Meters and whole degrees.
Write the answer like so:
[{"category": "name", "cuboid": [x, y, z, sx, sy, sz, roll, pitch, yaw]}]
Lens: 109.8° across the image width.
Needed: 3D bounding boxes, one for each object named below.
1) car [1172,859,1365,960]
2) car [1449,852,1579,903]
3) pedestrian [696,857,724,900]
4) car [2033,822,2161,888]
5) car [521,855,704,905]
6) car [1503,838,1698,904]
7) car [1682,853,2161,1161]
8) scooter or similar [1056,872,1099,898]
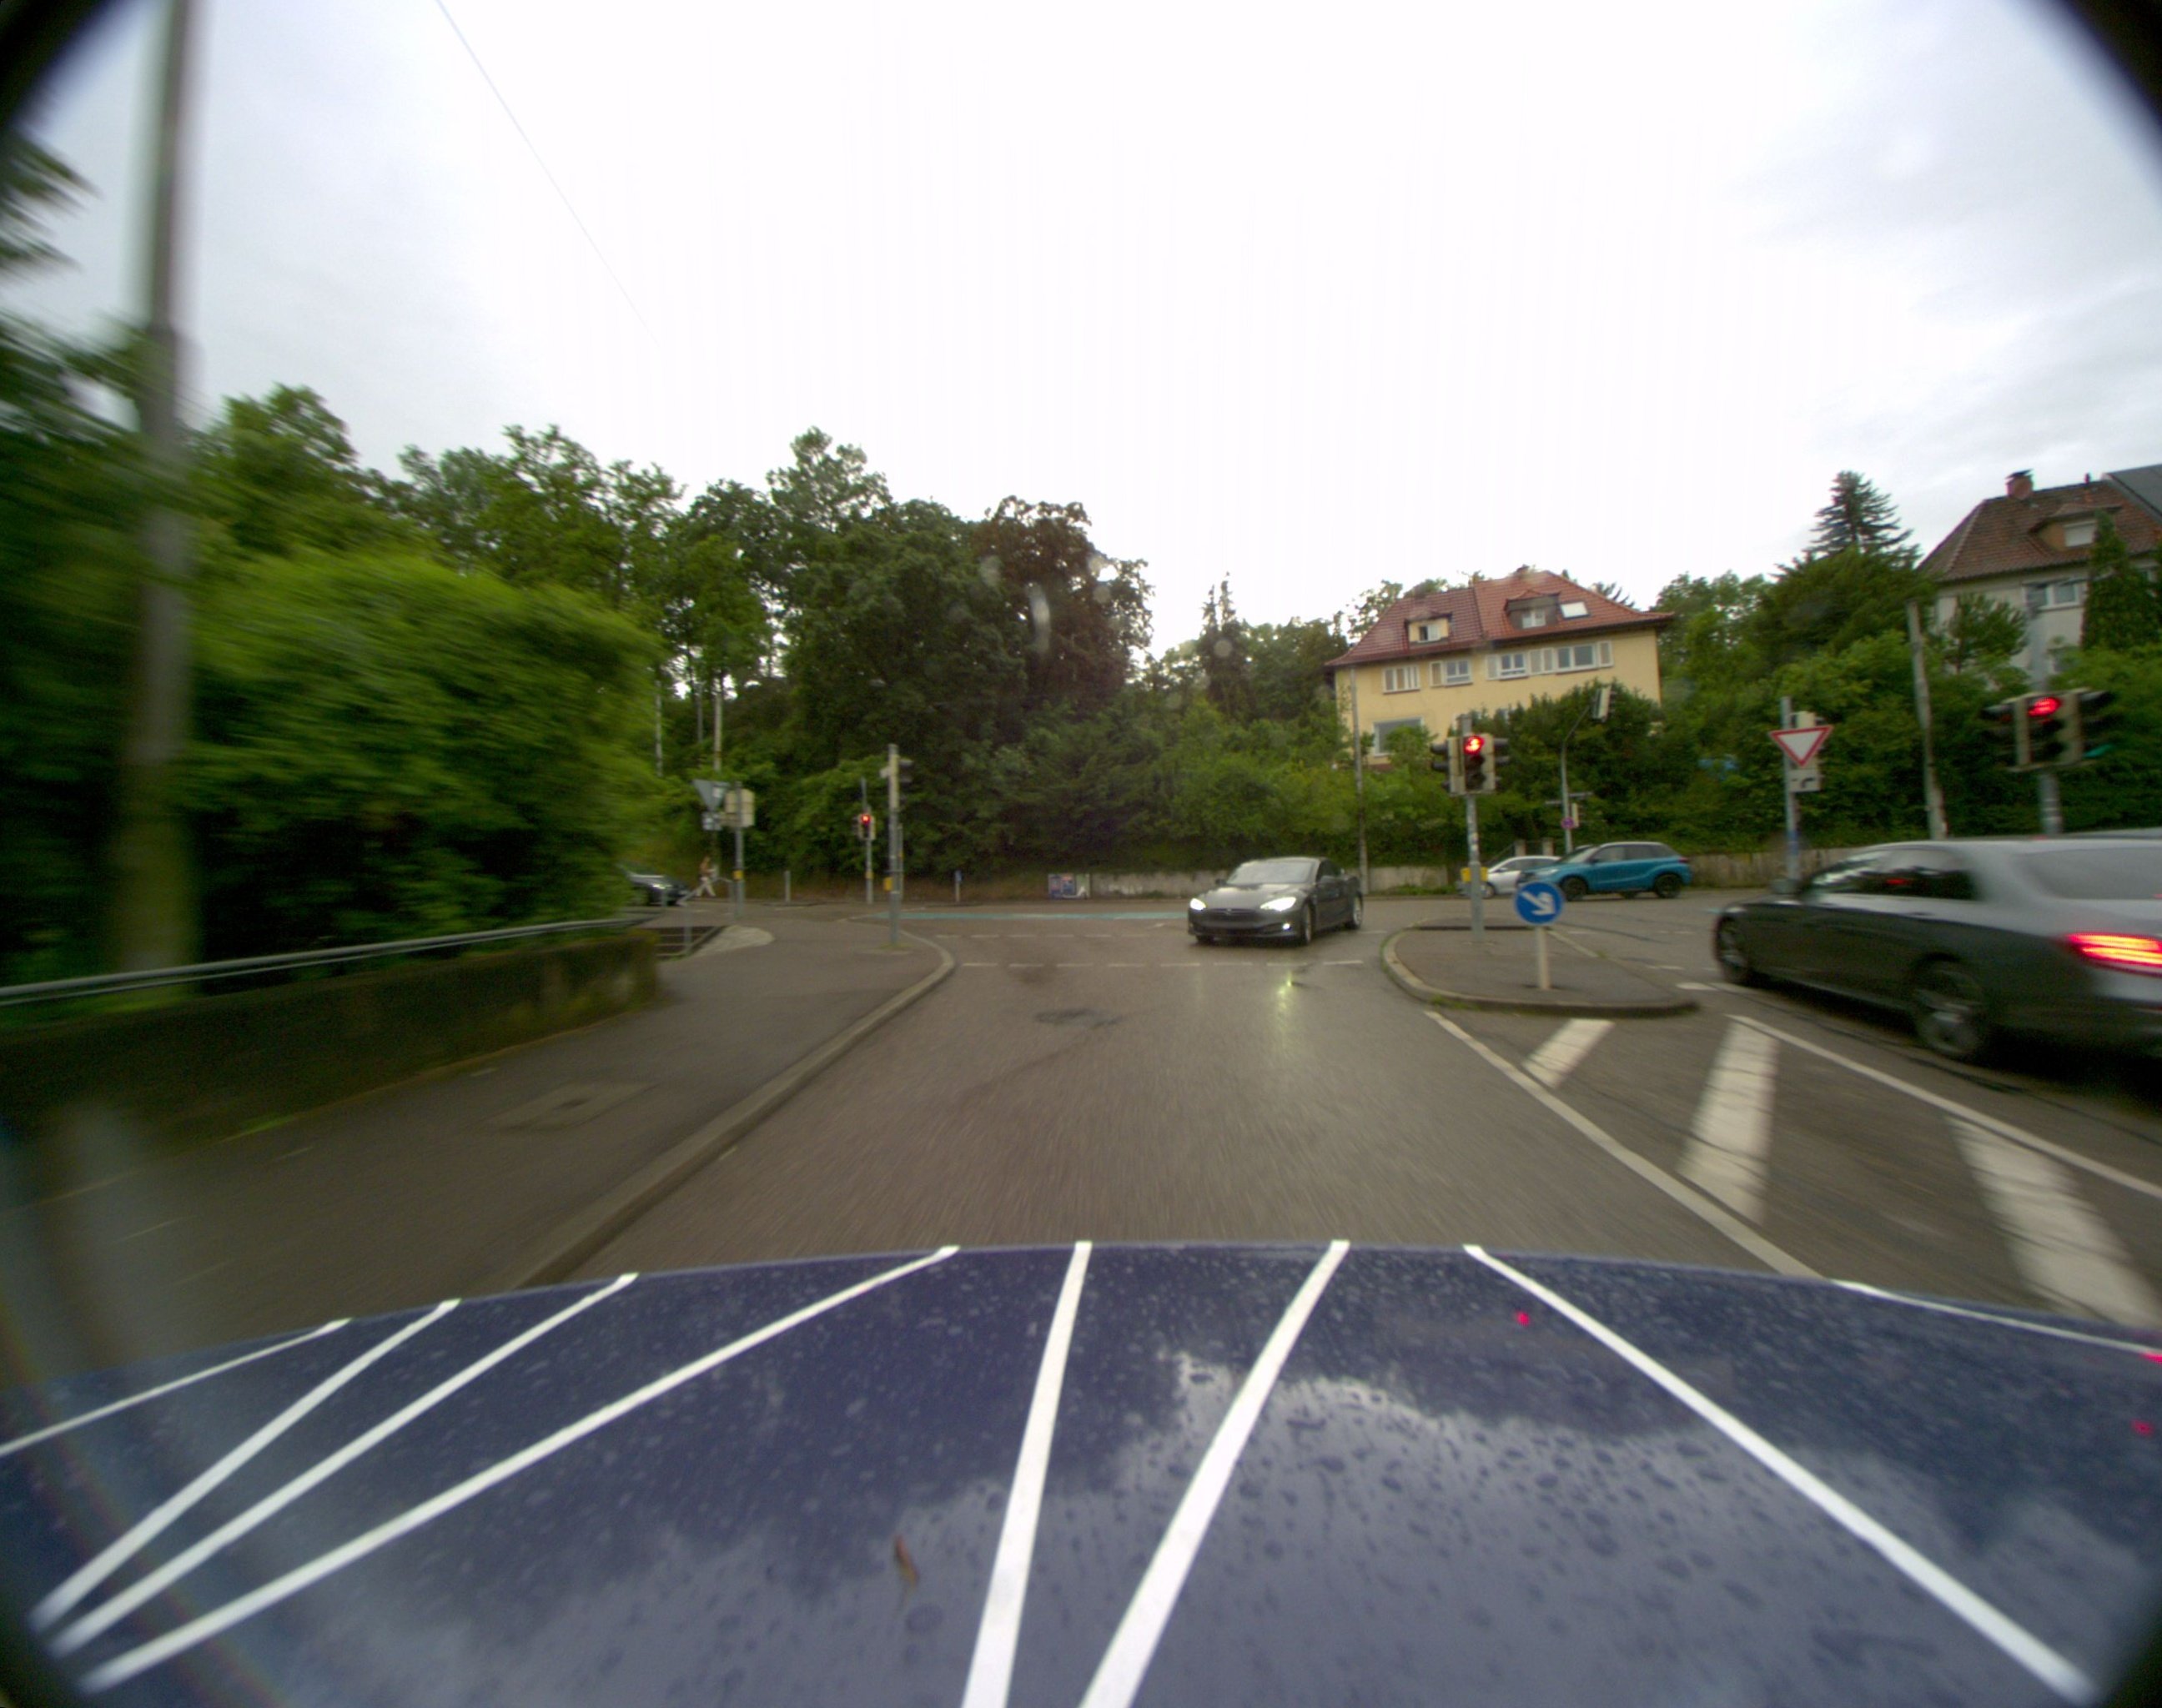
[{"category": "car", "cuboid": [3.479, 0.840, 13.460, 1.831, 1.384, 4.333, 0, 1, 36]}, {"category": "car", "cuboid": [14.461, 0.833, 25.550, 3.360, 1.442, 1.555, -4, -4, 11]}, {"category": "pedestrian", "cuboid": [-15.571, 1.033, 31.883, 0.799, 1.741, 0.649, 1, -3, -4]}, {"category": "car", "cuboid": [25.919, -0.037, 17.832, 4.031, 1.451, 1.763, -4, -2, 29]}, {"category": "car", "cuboid": [-14.743, 0.804, 24.064, 4.687, 1.512, 1.890, 0, -1, 4]}, {"category": "car", "cuboid": [14.301, 0.515, 21.141, 4.037, 1.599, 1.804, -3, -3, 5]}, {"category": "car", "cuboid": [6.614, 0.754, 5.701, 1.861, 1.387, 4.601, 0, 2, 19]}, {"category": "scooter or similar", "cuboid": [-0.146, 1.351, 32.952, 1.765, 1.068, 0.605, -2, -3, 15]}]
